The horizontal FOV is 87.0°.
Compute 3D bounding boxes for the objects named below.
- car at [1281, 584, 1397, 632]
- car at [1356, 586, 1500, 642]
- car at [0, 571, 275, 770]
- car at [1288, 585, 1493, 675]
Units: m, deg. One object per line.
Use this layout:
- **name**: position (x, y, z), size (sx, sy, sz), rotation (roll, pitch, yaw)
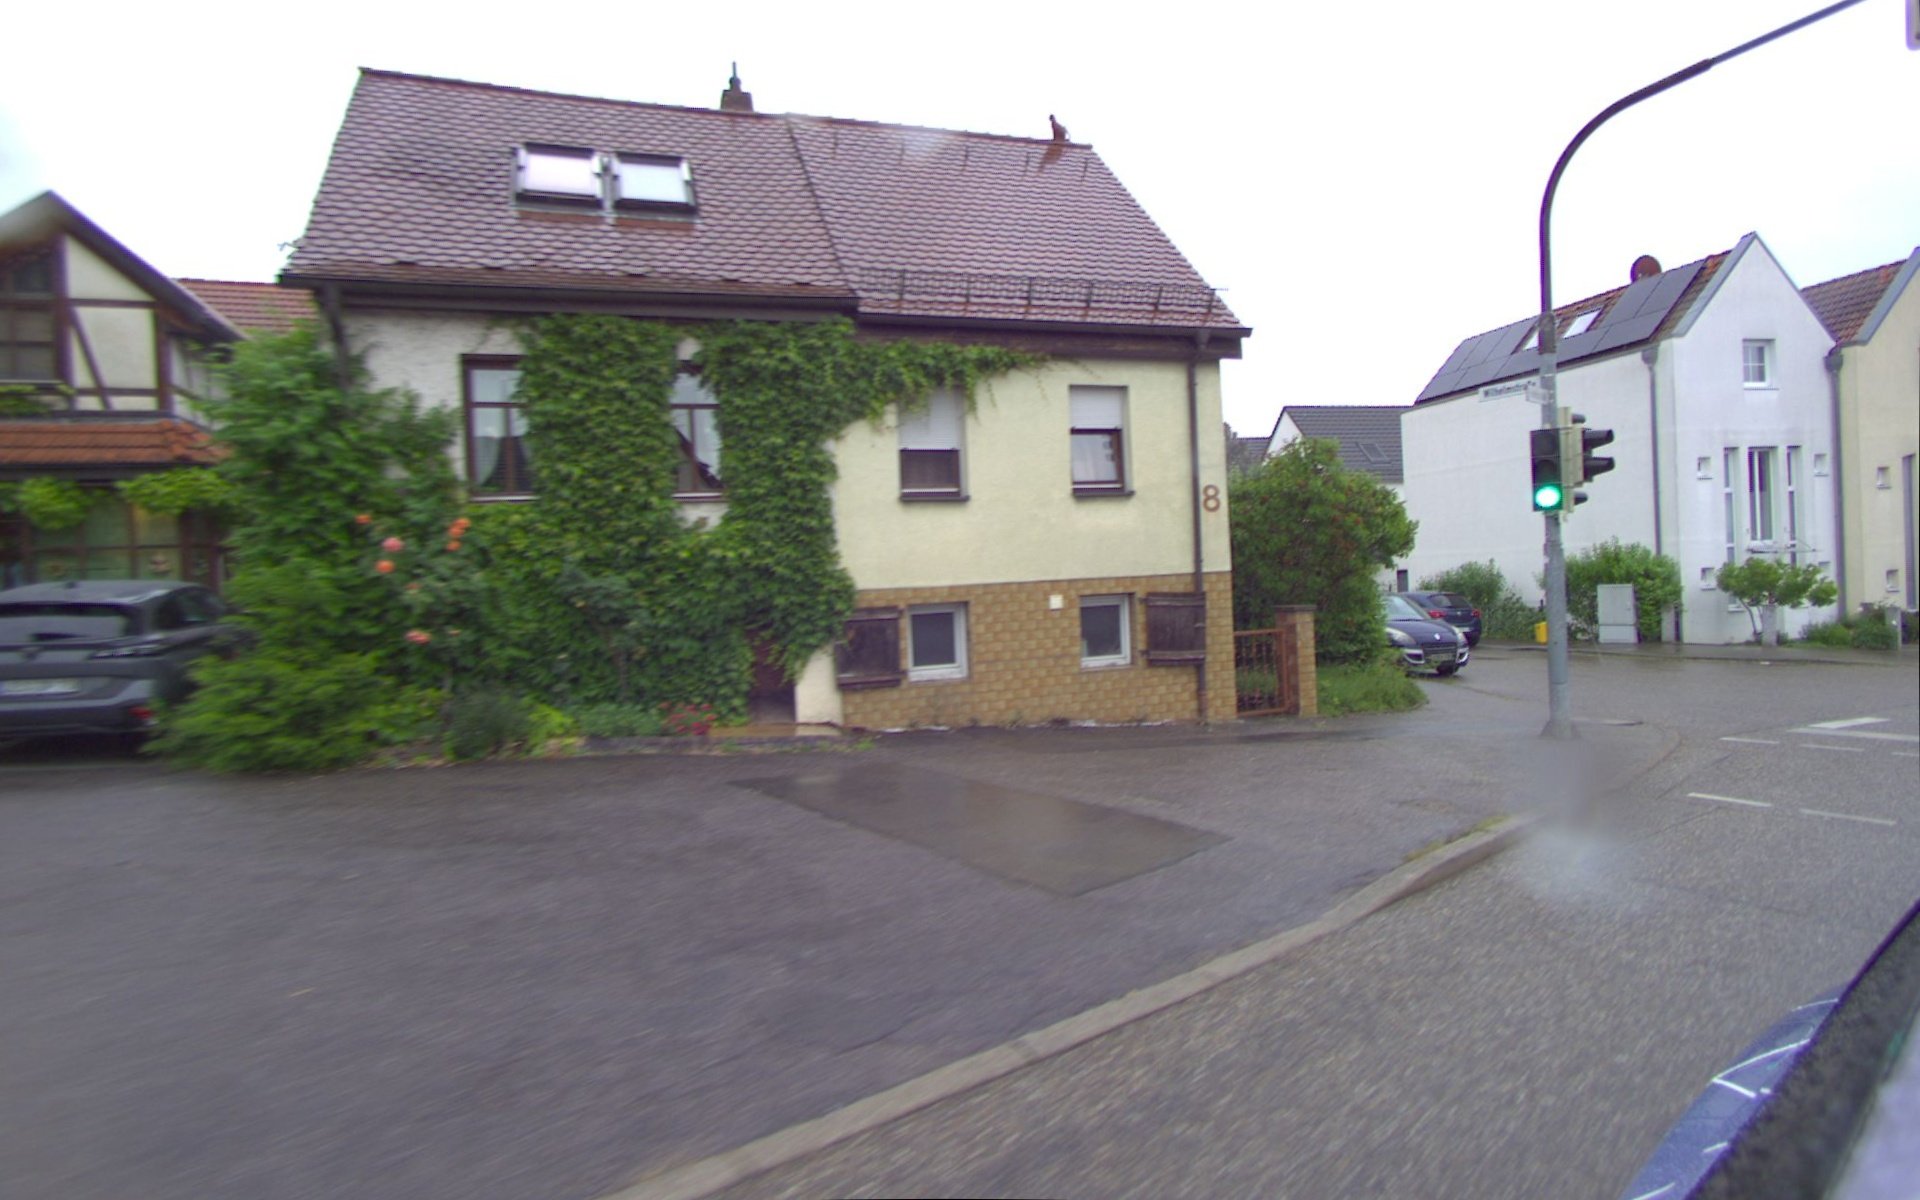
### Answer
- **car**: position (12.022, 0.237, 32.391), size (1.755, 1.418, 3.721), rotation (-1, 0, -11)
- **car**: position (12.865, 0.347, 28.084), size (1.766, 1.424, 3.741), rotation (-1, 0, -11)
- **car**: position (-8.017, 0.499, 9.717), size (1.641, 1.477, 4.119), rotation (1, 2, -24)
- **car**: position (8.621, 0.518, 20.699), size (1.826, 1.605, 4.153), rotation (-1, 1, -11)
